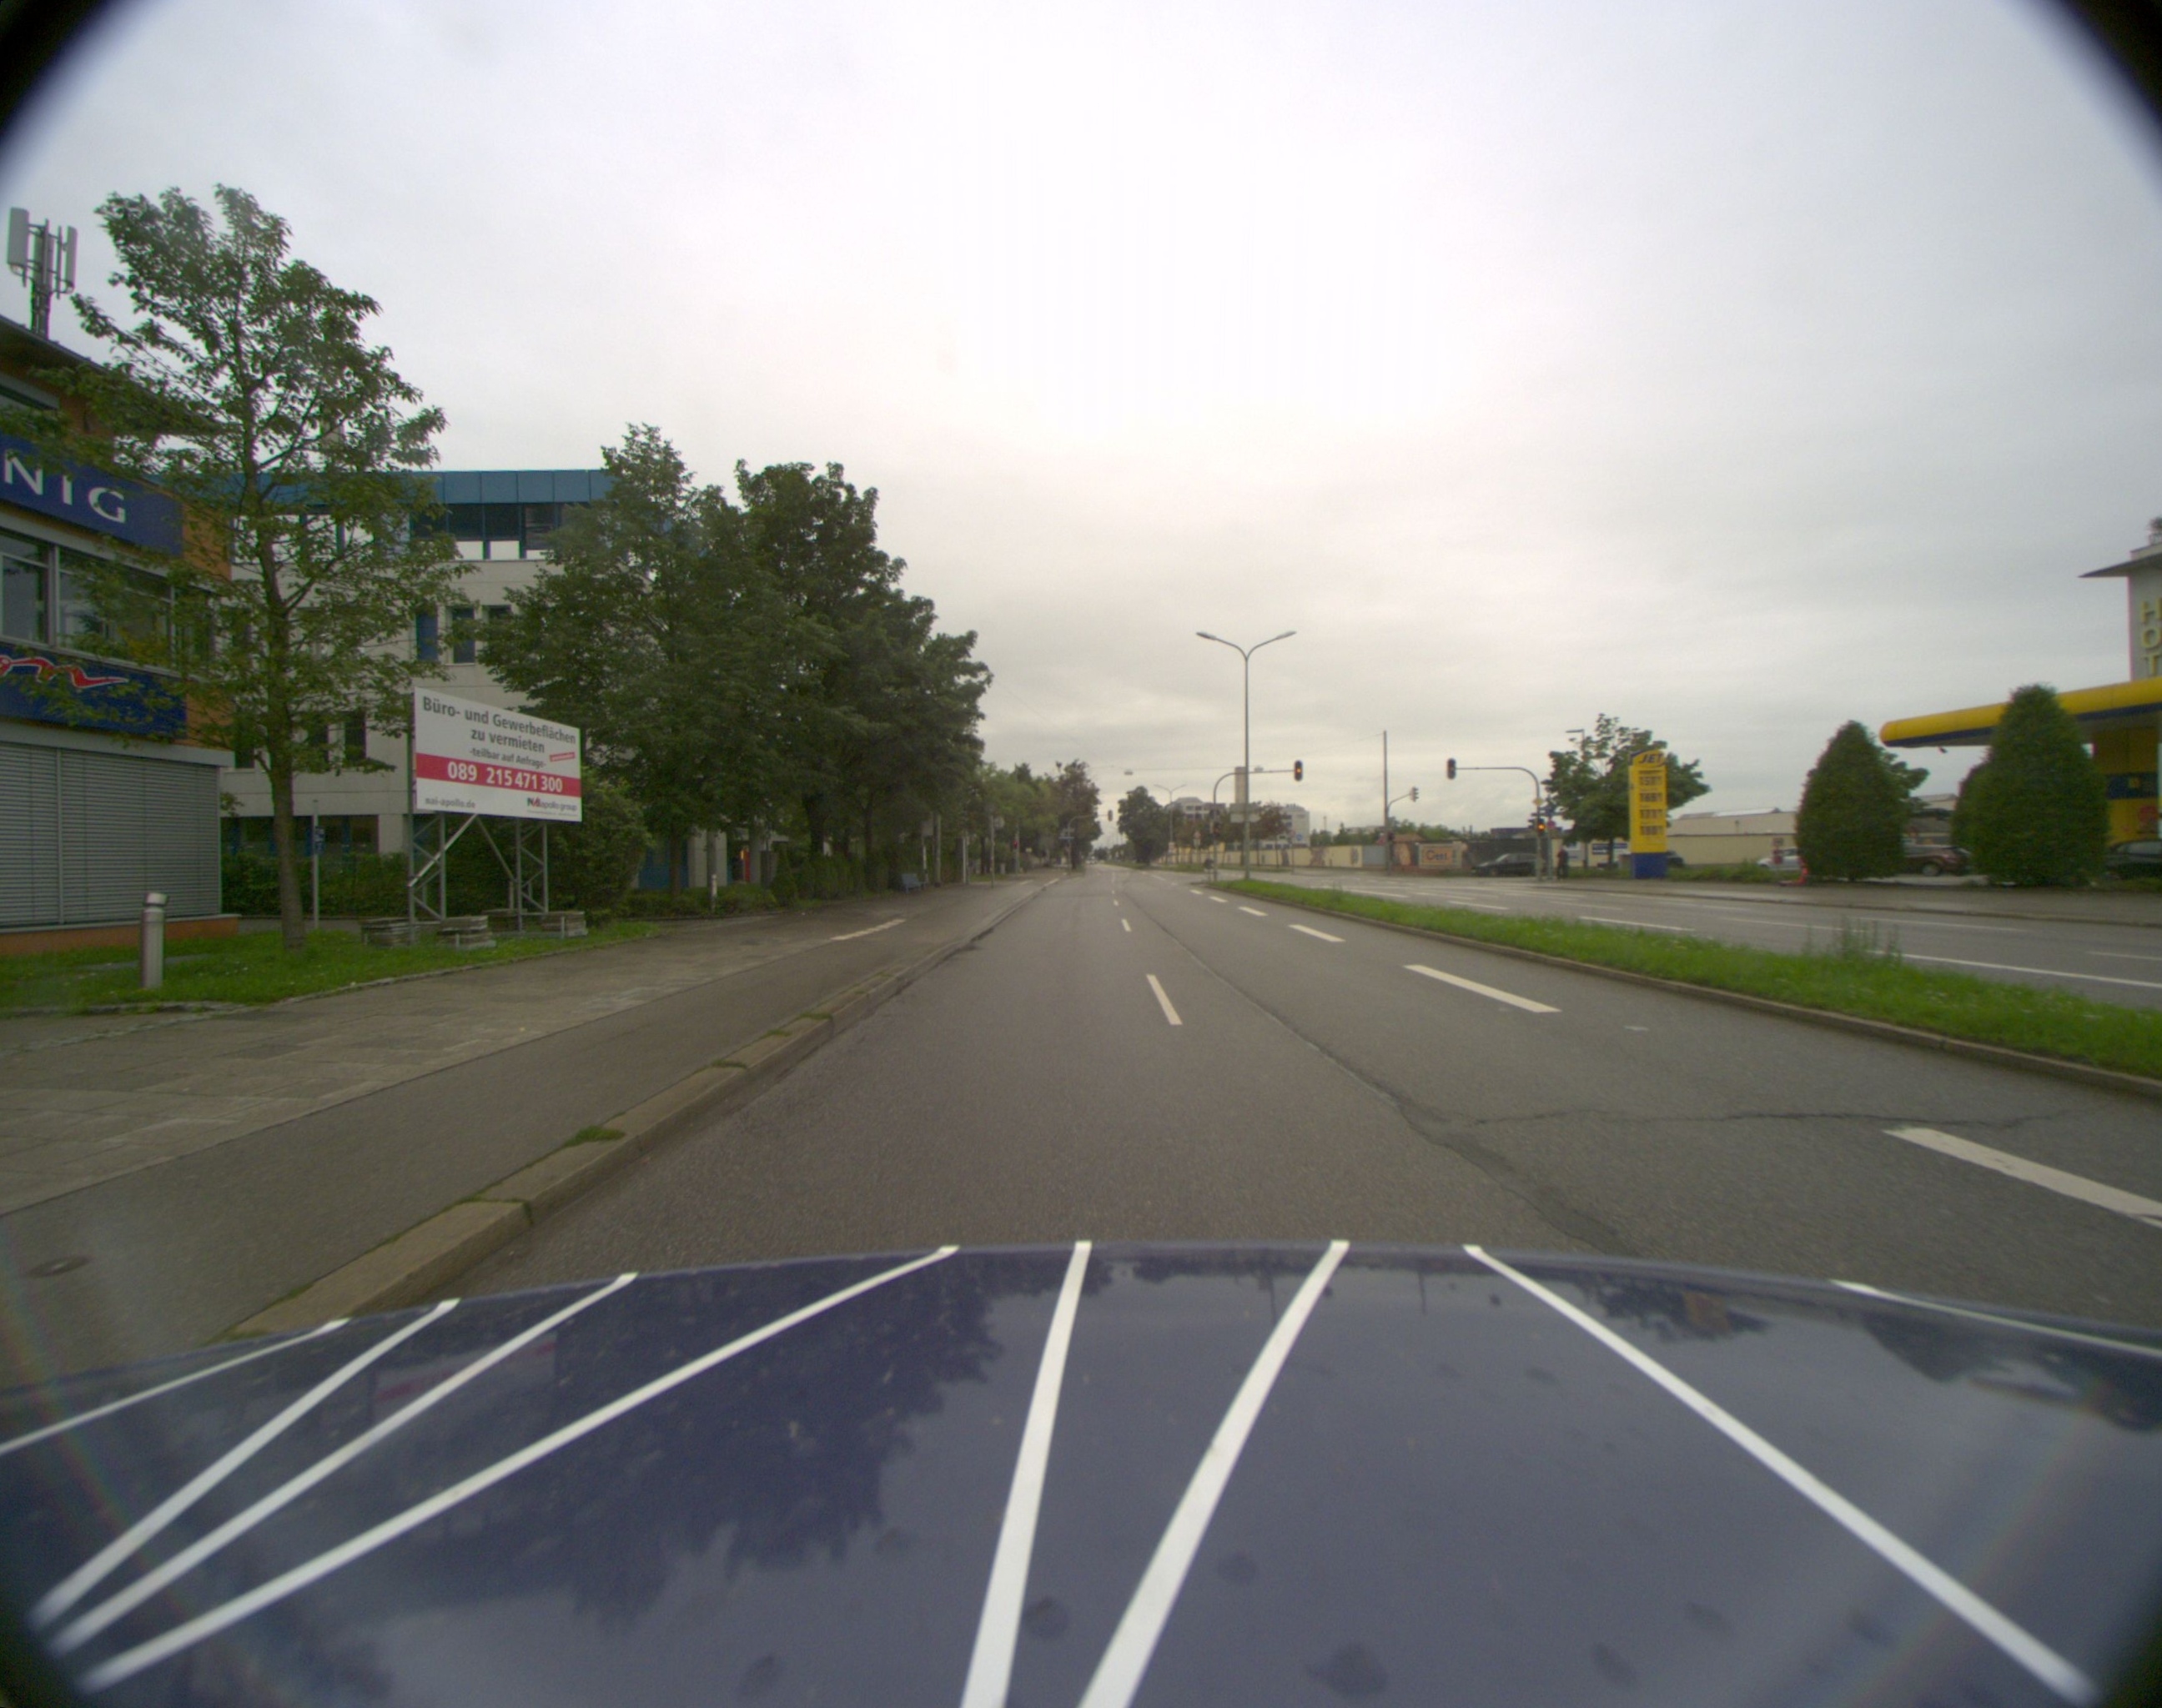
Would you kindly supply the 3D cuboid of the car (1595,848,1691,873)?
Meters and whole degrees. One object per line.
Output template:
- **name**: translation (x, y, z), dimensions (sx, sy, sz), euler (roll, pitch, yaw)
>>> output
- **car**: translation (36.276, 0.425, 49.131), dimensions (4.628, 1.523, 2.001), euler (-1, 0, 3)

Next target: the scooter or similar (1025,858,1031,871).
- **scooter or similar**: translation (-5.626, 1.124, 80.661), dimensions (0.371, 1.416, 1.404), euler (0, 0, -15)

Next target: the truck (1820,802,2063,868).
- **truck**: translation (54.688, -1.141, 48.508), dimensions (11.924, 3.833, 2.610), euler (-1, 0, 3)

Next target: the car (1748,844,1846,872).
- **car**: translation (39.384, 0.215, 41.944), dimensions (1.627, 1.477, 3.978), euler (0, 0, -1)

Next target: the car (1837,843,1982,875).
- **car**: translation (38.721, 0.227, 35.684), dimensions (1.704, 1.376, 4.360), euler (0, 0, -9)

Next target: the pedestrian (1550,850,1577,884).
- **pedestrian**: translation (23.313, 0.612, 36.727), dimensions (0.804, 1.605, 0.687), euler (-3, 0, 0)

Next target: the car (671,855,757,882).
- **car**: translation (-20.386, 0.775, 42.216), dimensions (4.167, 1.410, 1.872), euler (0, 0, 17)

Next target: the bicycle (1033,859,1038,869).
- **bicycle**: translation (-5.991, 1.355, 100.014), dimensions (0.583, 1.288, 2.454), euler (0, 0, -2)

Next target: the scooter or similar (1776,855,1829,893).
- **scooter or similar**: translation (24.158, 0.651, 25.461), dimensions (0.356, 1.235, 1.546), euler (-3, 0, 5)

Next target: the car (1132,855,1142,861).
- **car**: translation (13.129, 0.892, 178.389), dimensions (1.916, 1.498, 4.440), euler (0, 0, 1)

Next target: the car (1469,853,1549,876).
- **car**: translation (28.997, 0.717, 51.557), dimensions (4.260, 1.419, 2.001), euler (-1, 0, 3)

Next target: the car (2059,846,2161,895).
- **car**: translation (29.681, 0.443, 20.346), dimensions (1.799, 1.324, 4.000), euler (0, 0, -1)
